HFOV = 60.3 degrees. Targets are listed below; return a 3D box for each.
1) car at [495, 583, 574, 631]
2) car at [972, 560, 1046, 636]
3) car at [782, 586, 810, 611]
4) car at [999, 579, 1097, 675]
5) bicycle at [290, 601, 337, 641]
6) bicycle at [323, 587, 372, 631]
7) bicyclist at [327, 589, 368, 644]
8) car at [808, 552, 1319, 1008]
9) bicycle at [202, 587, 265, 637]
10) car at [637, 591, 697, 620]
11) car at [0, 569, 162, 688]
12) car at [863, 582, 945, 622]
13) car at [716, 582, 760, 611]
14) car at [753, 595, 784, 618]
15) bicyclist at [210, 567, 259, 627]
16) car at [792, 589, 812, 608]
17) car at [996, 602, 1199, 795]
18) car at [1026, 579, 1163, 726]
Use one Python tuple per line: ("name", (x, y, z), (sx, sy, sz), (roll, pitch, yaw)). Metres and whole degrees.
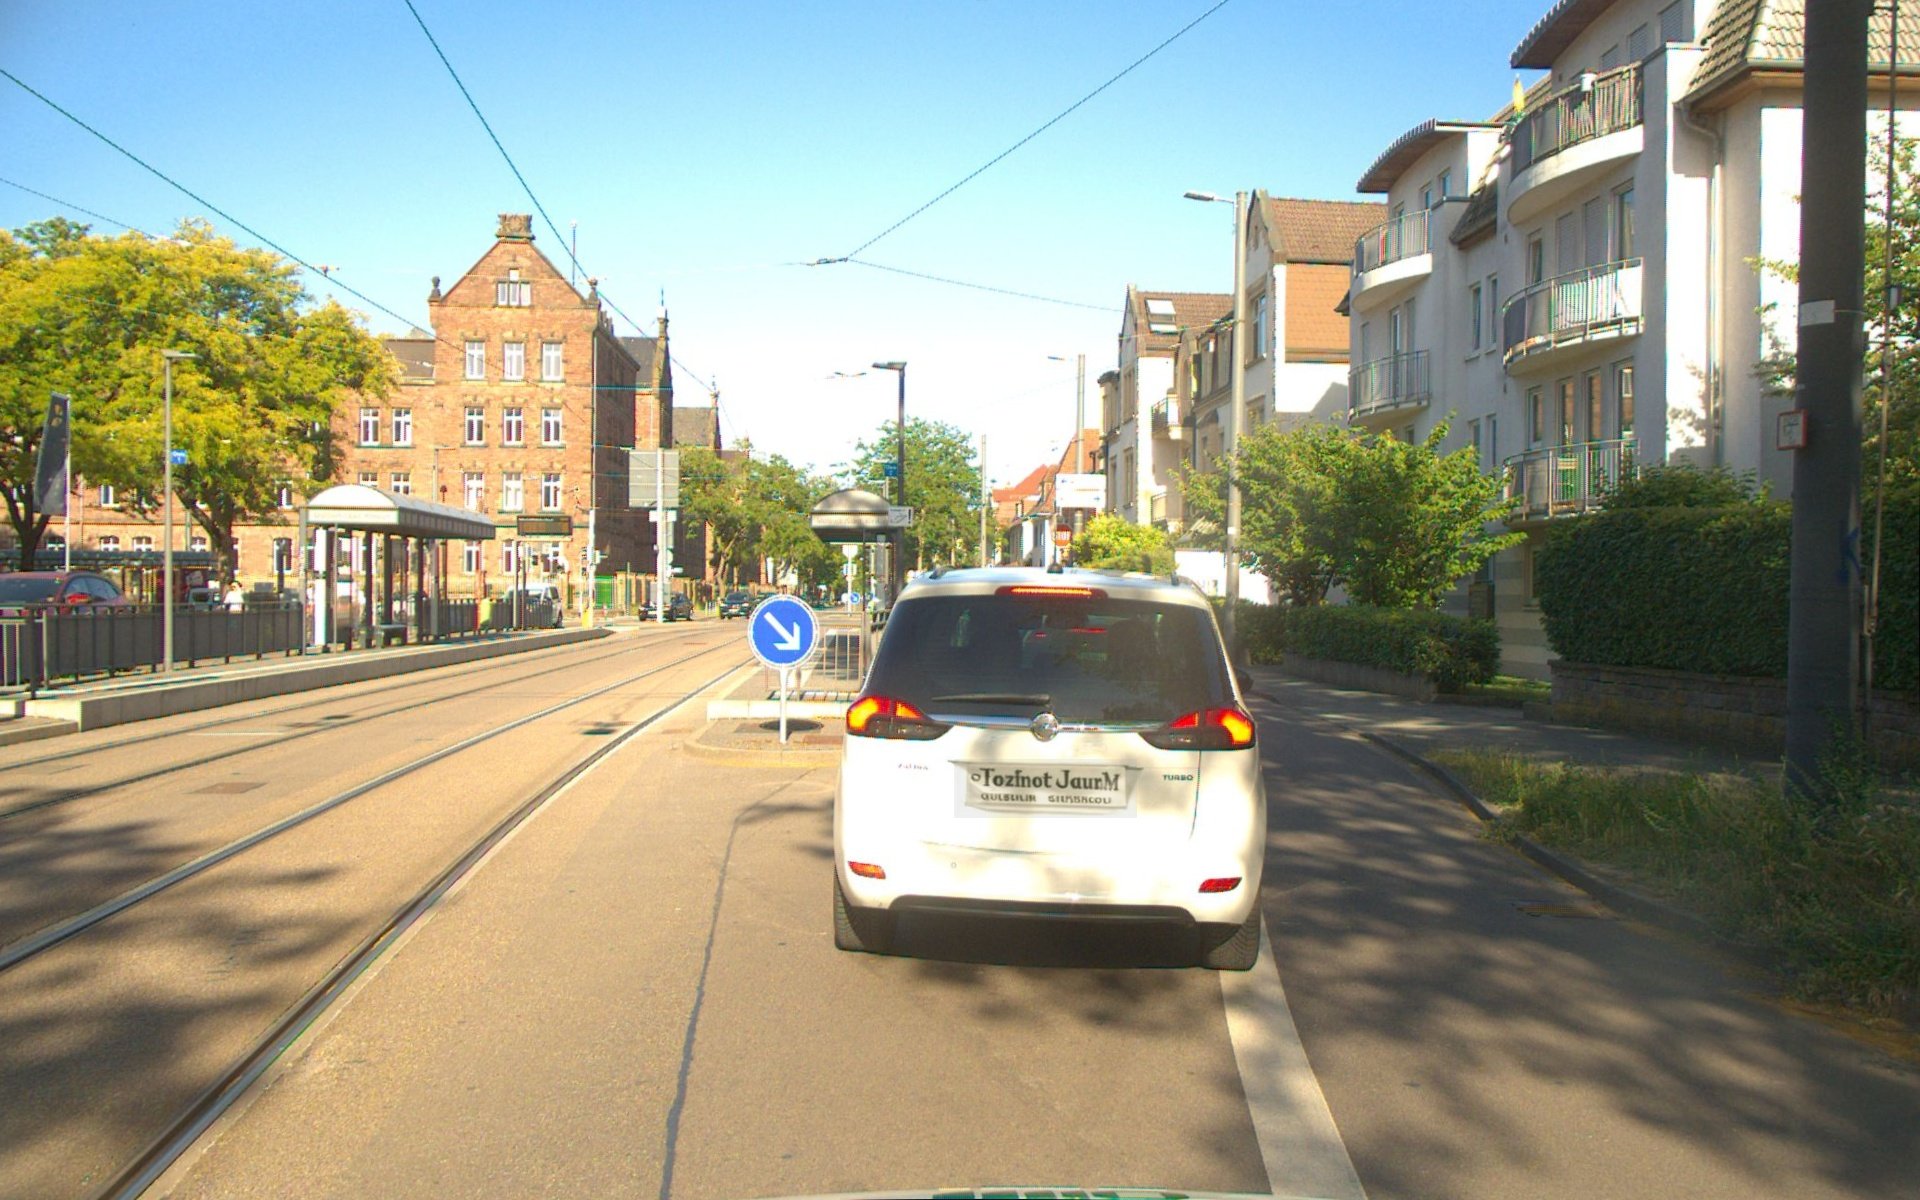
("car", (-16.499, 0.254, 64.278), (1.789, 1.819, 4.256), (0, 0, 2))
("car", (1.145, -0.084, 40.290), (1.563, 1.663, 3.901), (2, 2, -1))
("car", (-13.892, -0.114, 140.335), (1.952, 2.049, 4.000), (0, 0, 0))
("car", (1.638, 0.481, 31.960), (1.563, 1.663, 3.900), (2, 0, -1))
("bicycle", (-18.826, 0.590, 48.190), (0.655, 1.091, 2.014), (1, 1, -3))
("bicycle", (-17.763, 0.253, 48.004), (0.761, 1.252, 2.087), (0, 0, -4))
("bicyclist", (-17.768, 0.460, 48.010), (0.745, 1.563, 1.347), (0, 0, -4))
("car", (0.535, 0.642, 8.082), (1.838, 1.613, 4.002), (1, 0, 5))
("bicycle", (-18.513, 0.303, 42.208), (0.799, 1.219, 1.951), (1, 0, -3))
("car", (-14.670, 0.270, 83.032), (1.760, 1.406, 4.498), (0, 1, 7))
("car", (-13.754, 0.380, 24.767), (1.782, 1.635, 4.355), (0, 0, -5))
("car", (-2.948, 0.082, 86.608), (3.918, 2.049, 1.994), (0, 0, 35))
("car", (-13.068, -0.169, 97.513), (1.788, 1.645, 4.329), (1, -1, 3))
("car", (-12.755, 0.463, 110.458), (1.791, 1.471, 4.324), (1, -1, -4))
("bicyclist", (-18.512, -0.069, 42.204), (0.741, 1.496, 1.190), (1, 0, -3))
("car", (-14.271, -0.134, 149.717), (1.629, 1.680, 3.998), (0, 0, -3))
("car", (1.224, 0.767, 14.785), (1.536, 1.426, 3.786), (2, 0, 5))
("car", (1.712, 0.593, 21.044), (1.536, 1.643, 3.786), (2, 0, 5))
